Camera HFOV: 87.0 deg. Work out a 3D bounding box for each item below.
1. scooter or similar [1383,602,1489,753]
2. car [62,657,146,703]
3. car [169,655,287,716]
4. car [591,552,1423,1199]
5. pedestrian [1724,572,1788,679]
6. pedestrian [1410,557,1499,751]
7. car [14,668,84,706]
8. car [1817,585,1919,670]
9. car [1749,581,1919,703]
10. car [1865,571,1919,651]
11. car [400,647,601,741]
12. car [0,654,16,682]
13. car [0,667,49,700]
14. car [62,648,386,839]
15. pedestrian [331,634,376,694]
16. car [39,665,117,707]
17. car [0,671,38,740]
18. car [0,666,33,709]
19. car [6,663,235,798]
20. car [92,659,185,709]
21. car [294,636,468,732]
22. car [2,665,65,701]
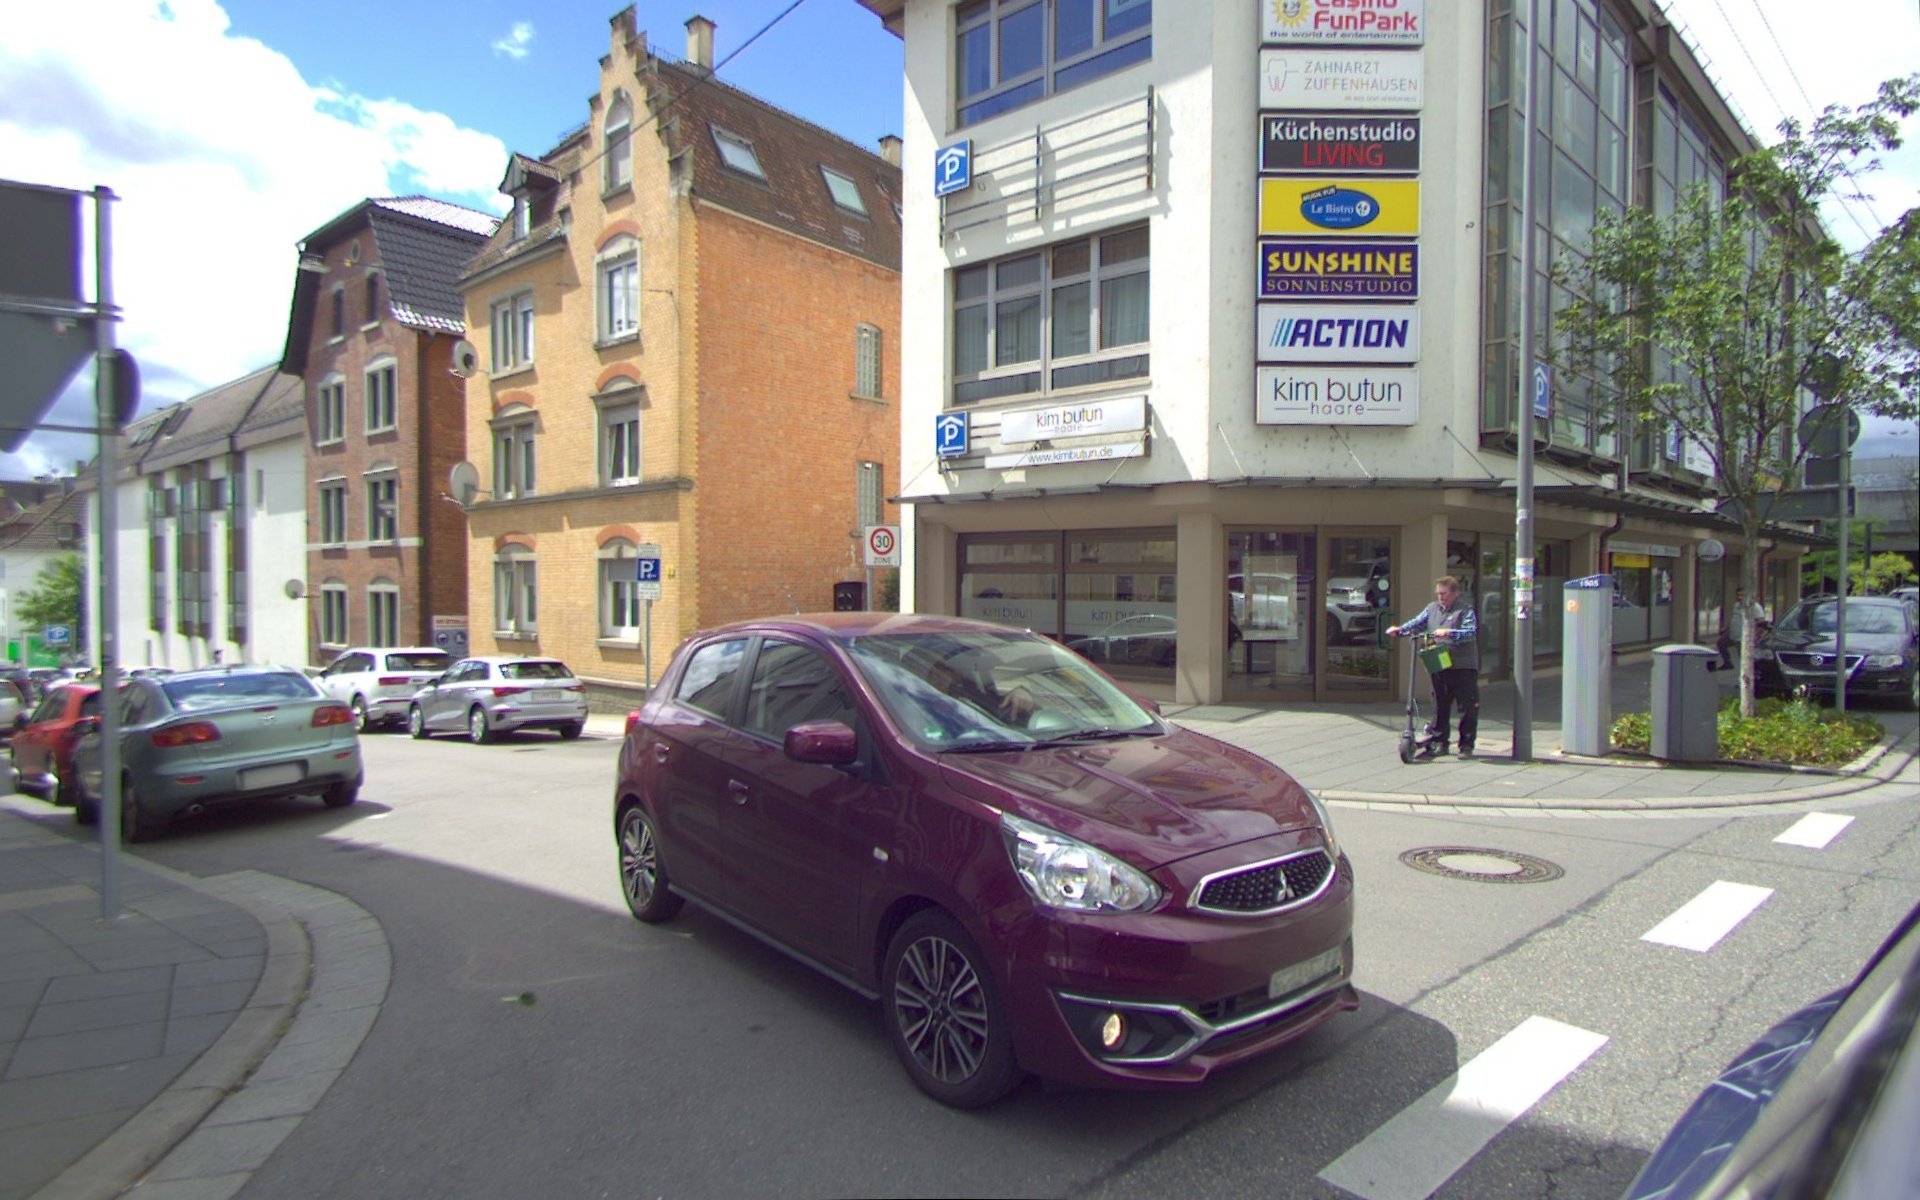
[{"bbox_3d":[4.452,0.680,9.442,1.228,1.296,0.431,-1,0,-42],"label":"scooter or similar"},{"bbox_3d":[-33.375,3.140,39.418,4.376,1.559,1.822,-6,-5,40],"label":"car"},{"bbox_3d":[-21.354,2.500,29.466,4.376,1.559,1.822,-6,-5,40],"label":"car"},{"bbox_3d":[-0.224,0.666,4.368,1.509,1.549,3.756,-1,0,-37],"label":"car"},{"bbox_3d":[12.139,0.382,15.435,0.469,1.582,0.660,-1,-1,-40],"label":"pedestrian"},{"bbox_3d":[4.576,0.478,9.370,0.474,1.724,0.571,-1,-1,-44],"label":"pedestrian"},{"bbox_3d":[-42.039,4.032,46.665,4.376,1.559,1.822,-6,-5,40],"label":"car"},{"bbox_3d":[17.806,0.448,19.140,4.457,1.463,1.855,-1,1,-42],"label":"car"},{"bbox_3d":[12.746,0.483,14.235,4.471,1.472,1.718,-1,1,-40],"label":"car"},{"bbox_3d":[22.161,0.230,22.815,4.384,1.682,1.826,-1,3,-38],"label":"car"},{"bbox_3d":[-8.083,1.590,17.672,3.874,1.417,1.821,-4,-4,42],"label":"car"},{"bbox_3d":[-59.384,4.194,61.945,4.376,1.559,1.822,-6,-5,40],"label":"car"},{"bbox_3d":[-50.444,4.484,54.223,4.376,1.559,1.822,-6,-5,40],"label":"car"},{"bbox_3d":[-7.395,1.332,10.026,3.874,1.417,1.822,-7,-4,42],"label":"car"},{"bbox_3d":[-17.419,1.828,29.072,0.940,1.677,0.841,-3,-3,40],"label":"pedestrian"},{"bbox_3d":[-36.971,3.612,42.405,4.376,1.559,1.822,-6,-5,40],"label":"car"},{"bbox_3d":[-22.151,2.438,22.589,3.817,1.417,1.823,-6,-3,40],"label":"car"},{"bbox_3d":[-37.994,3.486,39.729,4.376,1.559,1.822,-6,-5,40],"label":"car"},{"bbox_3d":[-11.322,1.700,13.570,3.820,1.417,1.822,-7,-4,42],"label":"car"},{"bbox_3d":[-29.577,3.040,36.401,4.376,1.559,1.822,-6,-5,40],"label":"car"},{"bbox_3d":[-12.264,1.800,21.314,4.376,1.778,1.822,-6,-5,40],"label":"car"},{"bbox_3d":[-46.692,4.189,50.983,4.376,1.559,1.822,-6,-5,40],"label":"car"}]
